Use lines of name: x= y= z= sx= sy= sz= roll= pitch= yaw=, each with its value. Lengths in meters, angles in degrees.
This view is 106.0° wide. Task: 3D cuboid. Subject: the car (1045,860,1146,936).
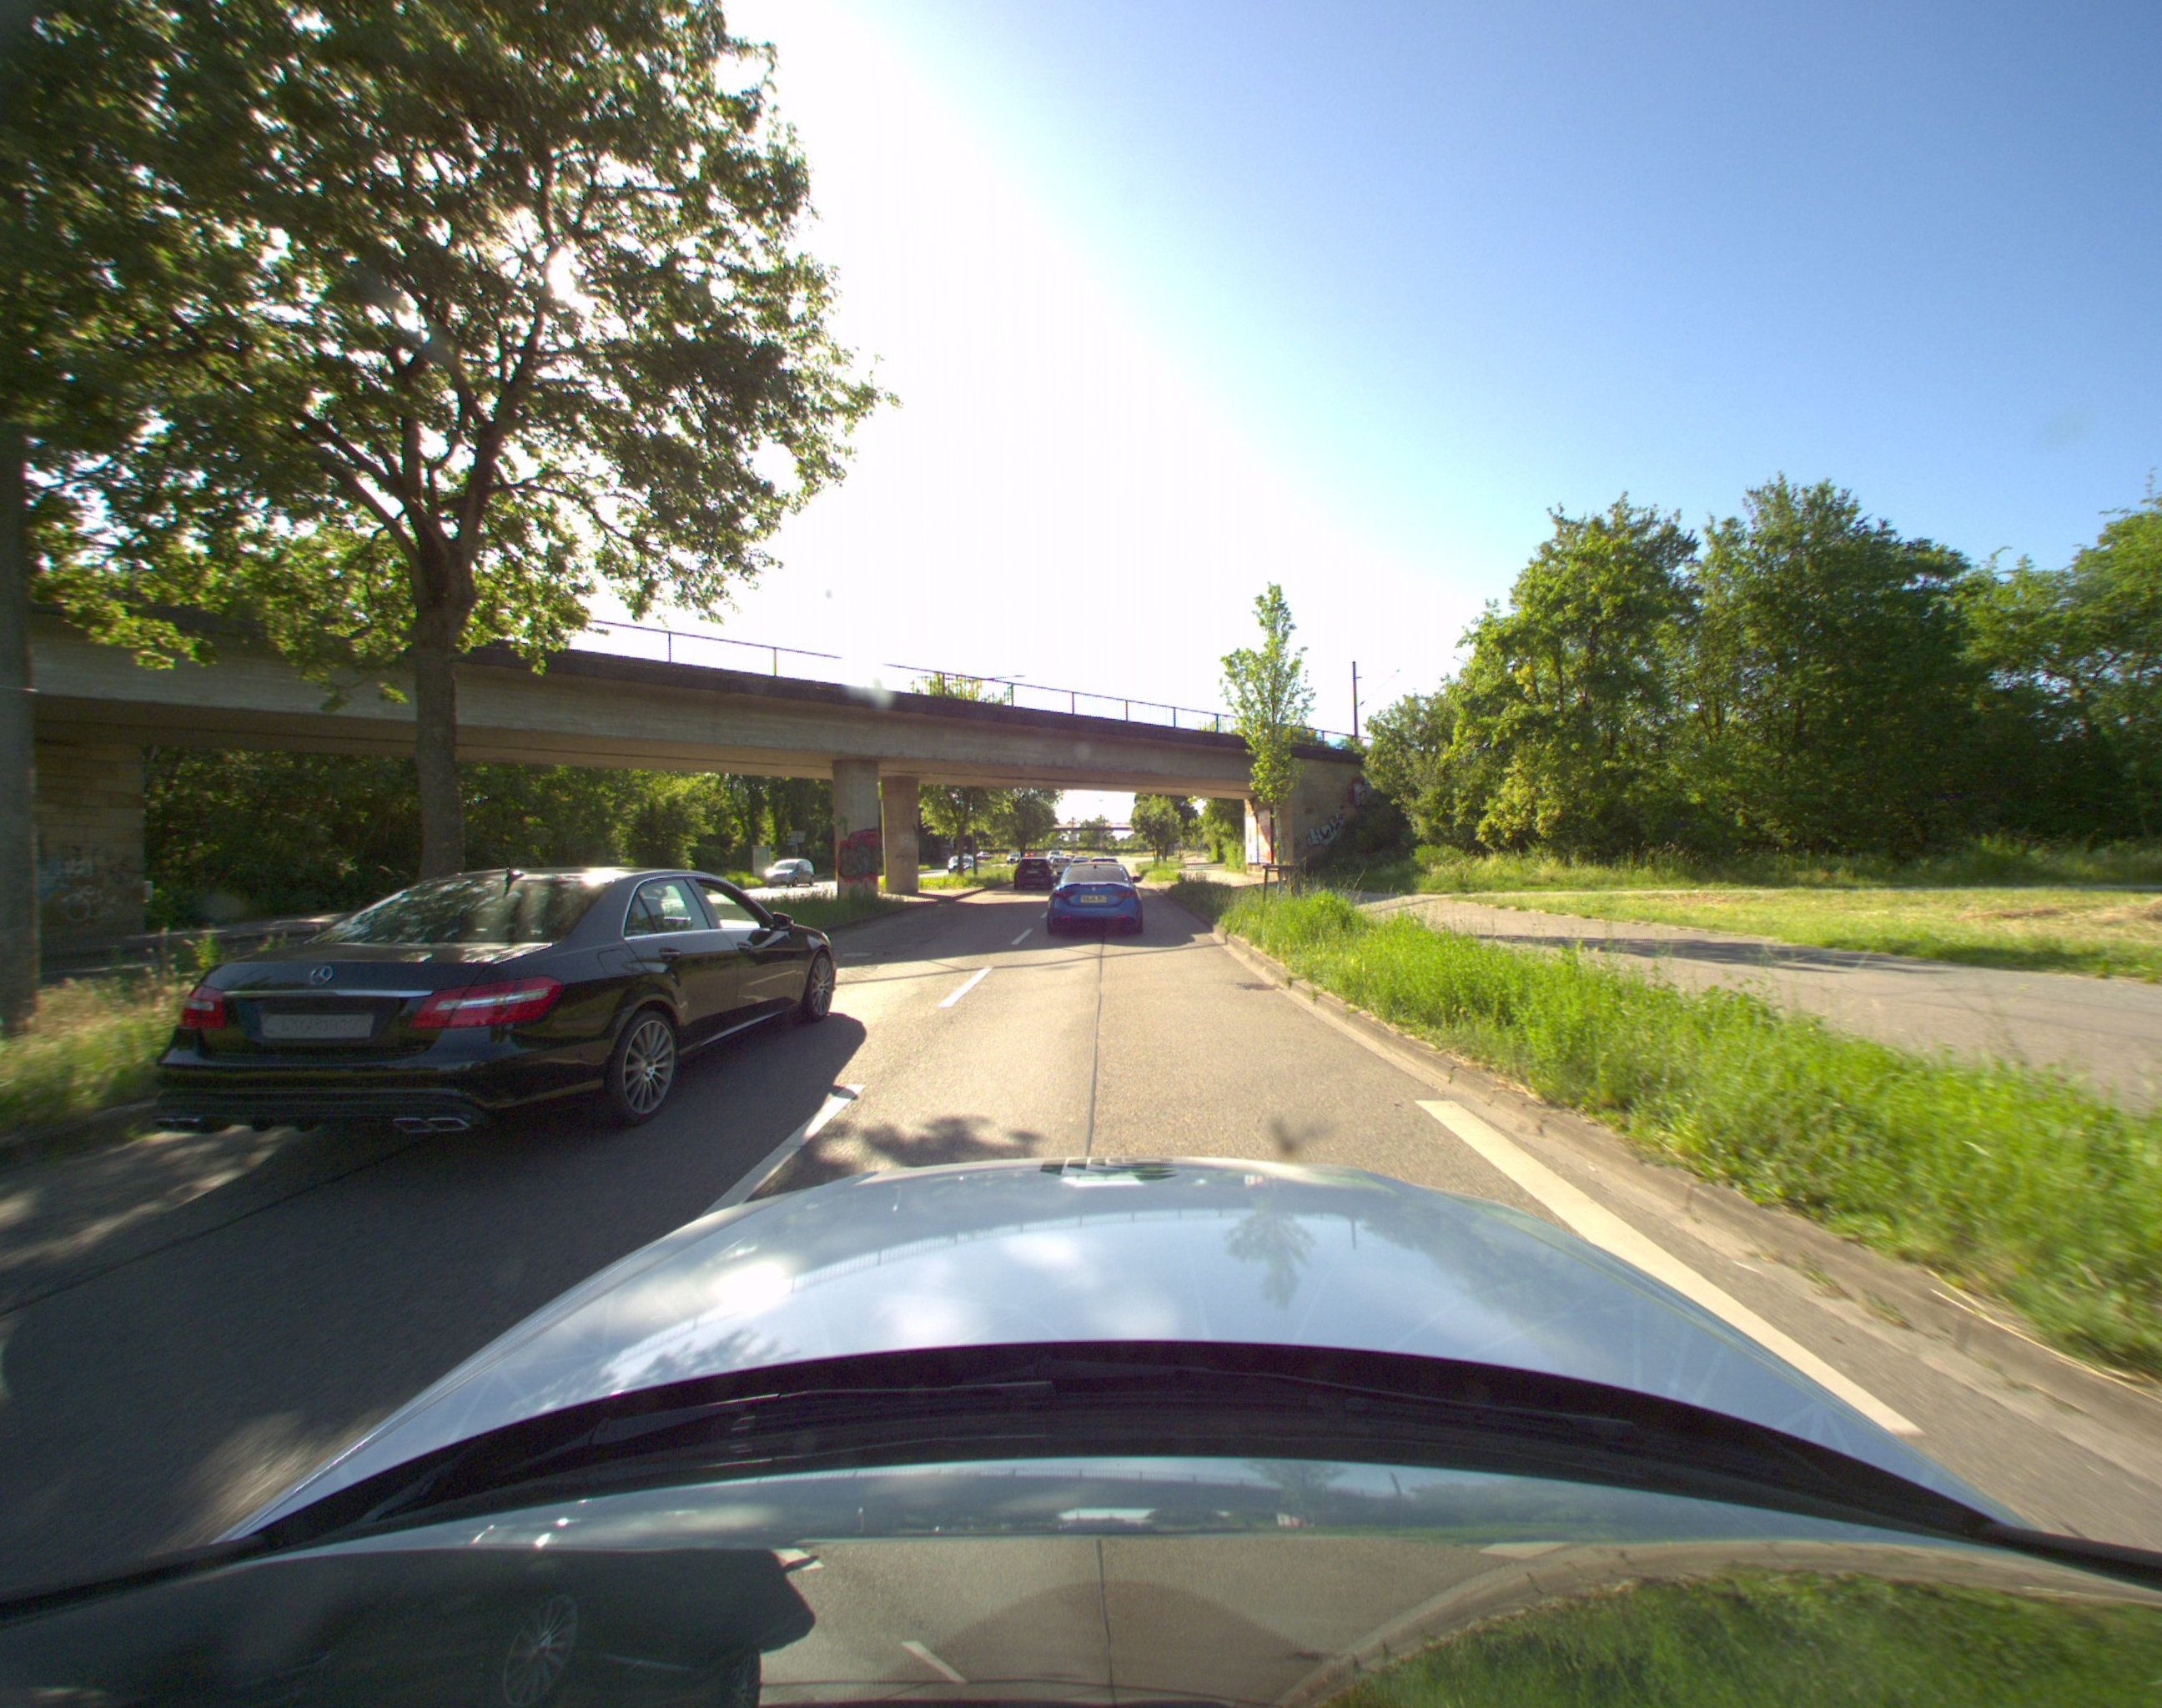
car: x=0.344 y=0.828 z=17.341 sx=1.876 sy=1.406 sz=4.226 roll=0 pitch=0 yaw=2

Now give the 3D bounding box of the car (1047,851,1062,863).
car: x=-4.241 y=0.500 z=131.876 sx=1.986 sy=1.929 sz=5.248 roll=-1 pitch=0 yaw=2

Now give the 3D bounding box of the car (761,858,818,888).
car: x=-17.214 y=1.085 z=48.283 sx=1.722 sy=1.617 sz=4.181 roll=-2 pitch=-1 yaw=2

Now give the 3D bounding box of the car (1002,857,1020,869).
car: x=-9.971 y=1.291 z=116.710 sx=1.974 sy=1.552 sz=4.596 roll=1 pitch=0 yaw=3

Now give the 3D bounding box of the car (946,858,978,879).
car: x=-9.877 y=1.200 z=67.695 sx=1.835 sy=1.543 sz=4.002 roll=-4 pitch=-1 yaw=2

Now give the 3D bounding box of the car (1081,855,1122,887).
car: x=1.025 y=0.789 z=39.563 sx=1.876 sy=1.454 sz=4.528 roll=0 pitch=0 yaw=2

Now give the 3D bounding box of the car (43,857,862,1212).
car: x=-3.338 y=0.773 z=5.906 sx=1.951 sy=1.483 sz=4.921 roll=0 pitch=0 yaw=3

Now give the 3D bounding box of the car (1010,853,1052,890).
car: x=-2.239 y=0.773 z=37.579 sx=1.703 sy=1.598 sz=4.222 roll=0 pitch=0 yaw=-1

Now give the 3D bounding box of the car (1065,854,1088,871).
car: x=-0.379 y=0.773 z=74.522 sx=1.876 sy=1.454 sz=4.528 roll=0 pitch=0 yaw=2

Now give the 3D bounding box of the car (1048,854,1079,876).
car: x=-1.203 y=0.743 z=57.142 sx=1.876 sy=1.454 sz=4.528 roll=0 pitch=0 yaw=2
